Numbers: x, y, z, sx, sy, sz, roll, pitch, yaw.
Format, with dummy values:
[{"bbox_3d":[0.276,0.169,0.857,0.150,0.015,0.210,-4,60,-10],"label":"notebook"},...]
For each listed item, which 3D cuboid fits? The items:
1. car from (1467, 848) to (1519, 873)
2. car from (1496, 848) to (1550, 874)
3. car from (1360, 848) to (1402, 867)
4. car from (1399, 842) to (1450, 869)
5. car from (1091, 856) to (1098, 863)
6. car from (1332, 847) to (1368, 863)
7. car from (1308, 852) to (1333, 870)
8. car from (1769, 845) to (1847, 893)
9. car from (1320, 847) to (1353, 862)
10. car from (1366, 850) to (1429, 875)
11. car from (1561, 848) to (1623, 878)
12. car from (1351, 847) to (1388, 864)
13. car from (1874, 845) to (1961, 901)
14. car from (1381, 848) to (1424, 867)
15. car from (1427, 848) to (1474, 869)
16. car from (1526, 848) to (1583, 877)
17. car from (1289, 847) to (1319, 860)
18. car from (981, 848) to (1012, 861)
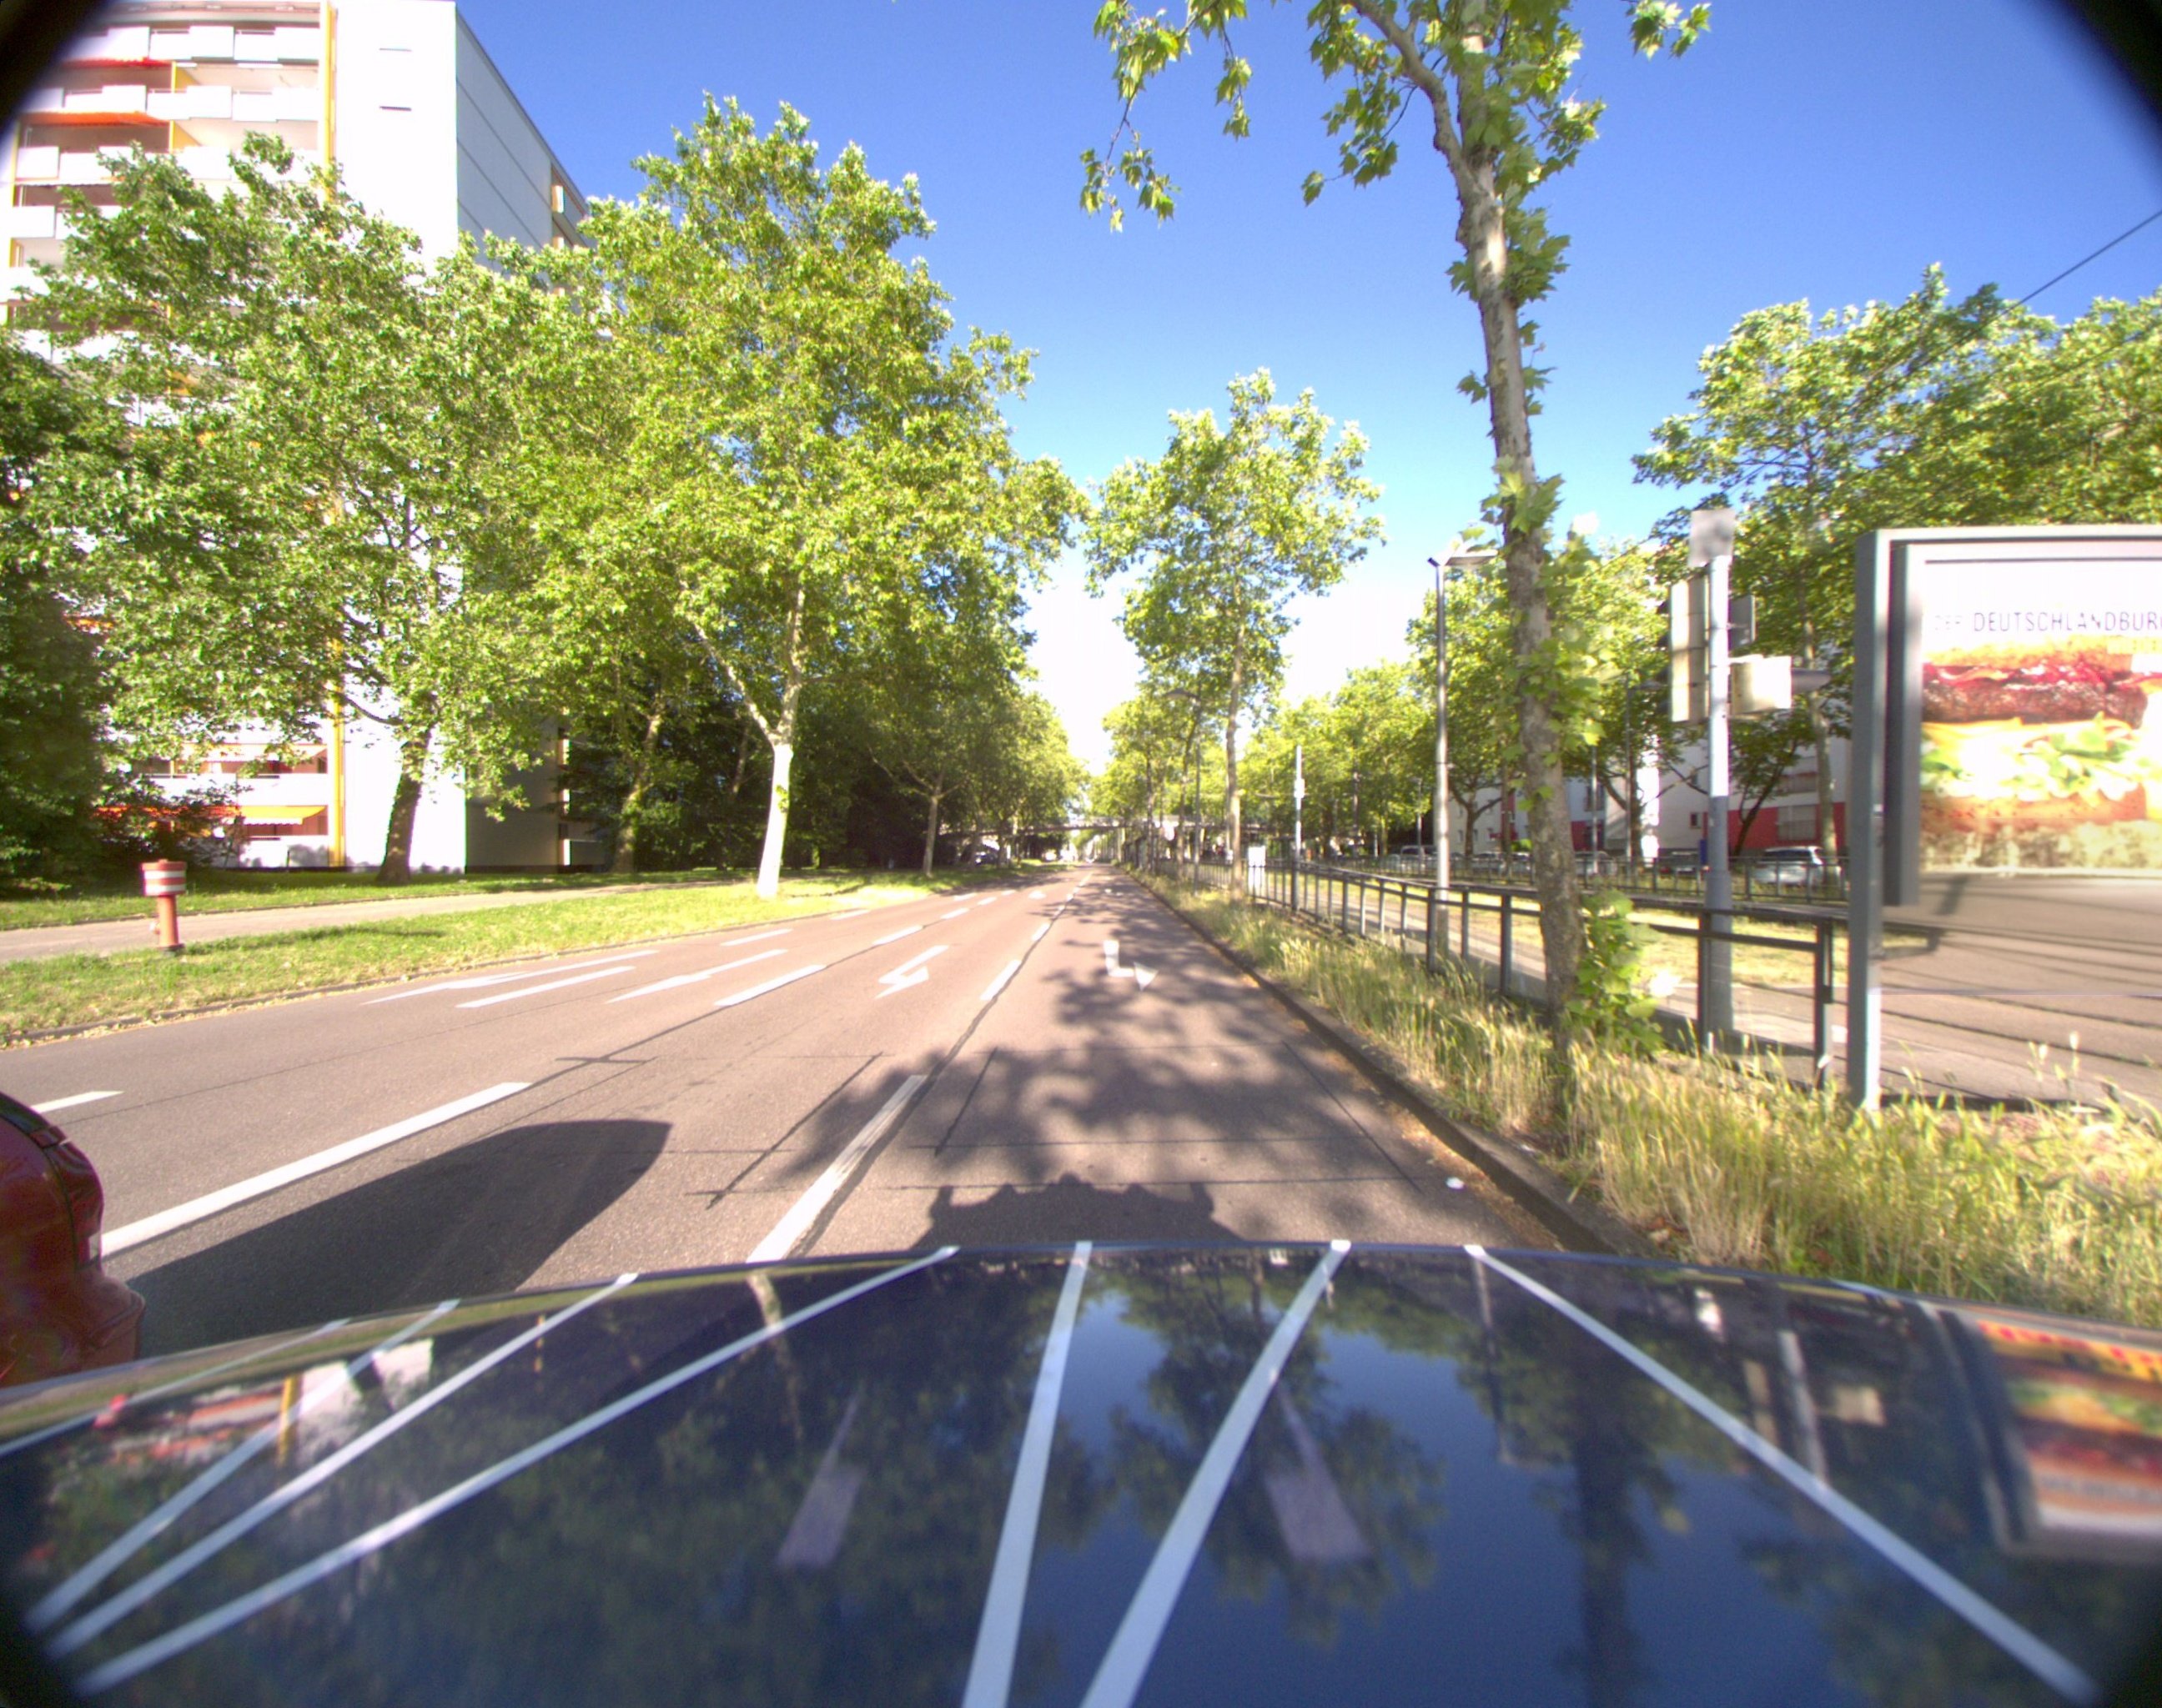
[{"bbox_3d":[25.859,0.395,47.668,3.811,1.433,1.652,-2,0,-42],"label":"car"},{"bbox_3d":[26.106,0.405,44.853,3.811,1.433,1.652,-2,0,-42],"label":"car"},{"bbox_3d":[24.952,0.270,63.198,3.811,1.433,1.652,-2,0,-42],"label":"car"},{"bbox_3d":[25.827,0.087,57.019,4.330,1.863,1.836,-2,0,-42],"label":"car"},{"bbox_3d":[3.056,1.273,176.640,1.580,1.395,3.638,-2,0,0],"label":"car"},{"bbox_3d":[26.075,0.131,73.554,3.811,1.433,1.652,-2,0,-42],"label":"car"},{"bbox_3d":[22.051,0.628,70.086,1.579,1.548,2.817,-2,0,3],"label":"car"},{"bbox_3d":[25.363,0.487,26.464,3.811,1.501,1.652,-2,0,-42],"label":"car"},{"bbox_3d":[26.796,0.043,79.614,3.811,1.433,1.652,-2,0,-42],"label":"car"},{"bbox_3d":[20.068,0.525,48.439,1.656,1.501,4.640,-2,0,-6],"label":"car"},{"bbox_3d":[25.389,0.446,37.687,3.811,1.348,1.652,-2,0,-42],"label":"car"},{"bbox_3d":[26.628,0.133,70.123,3.811,1.433,1.652,-2,0,-42],"label":"car"},{"bbox_3d":[25.250,0.522,22.956,3.811,1.501,1.652,-2,0,-42],"label":"car"},{"bbox_3d":[25.738,0.267,60.741,3.811,1.433,1.652,-2,0,-42],"label":"car"},{"bbox_3d":[26.310,0.308,54.021,3.811,1.433,1.652,-2,0,-42],"label":"car"},{"bbox_3d":[25.870,0.441,41.468,3.811,1.433,1.652,-2,0,-42],"label":"car"},{"bbox_3d":[26.450,-0.050,89.964,3.811,1.433,1.652,-2,0,-42],"label":"car"},{"bbox_3d":[-13.104,0.133,118.630,4.719,1.924,1.907,-2,0,-6],"label":"car"}]
